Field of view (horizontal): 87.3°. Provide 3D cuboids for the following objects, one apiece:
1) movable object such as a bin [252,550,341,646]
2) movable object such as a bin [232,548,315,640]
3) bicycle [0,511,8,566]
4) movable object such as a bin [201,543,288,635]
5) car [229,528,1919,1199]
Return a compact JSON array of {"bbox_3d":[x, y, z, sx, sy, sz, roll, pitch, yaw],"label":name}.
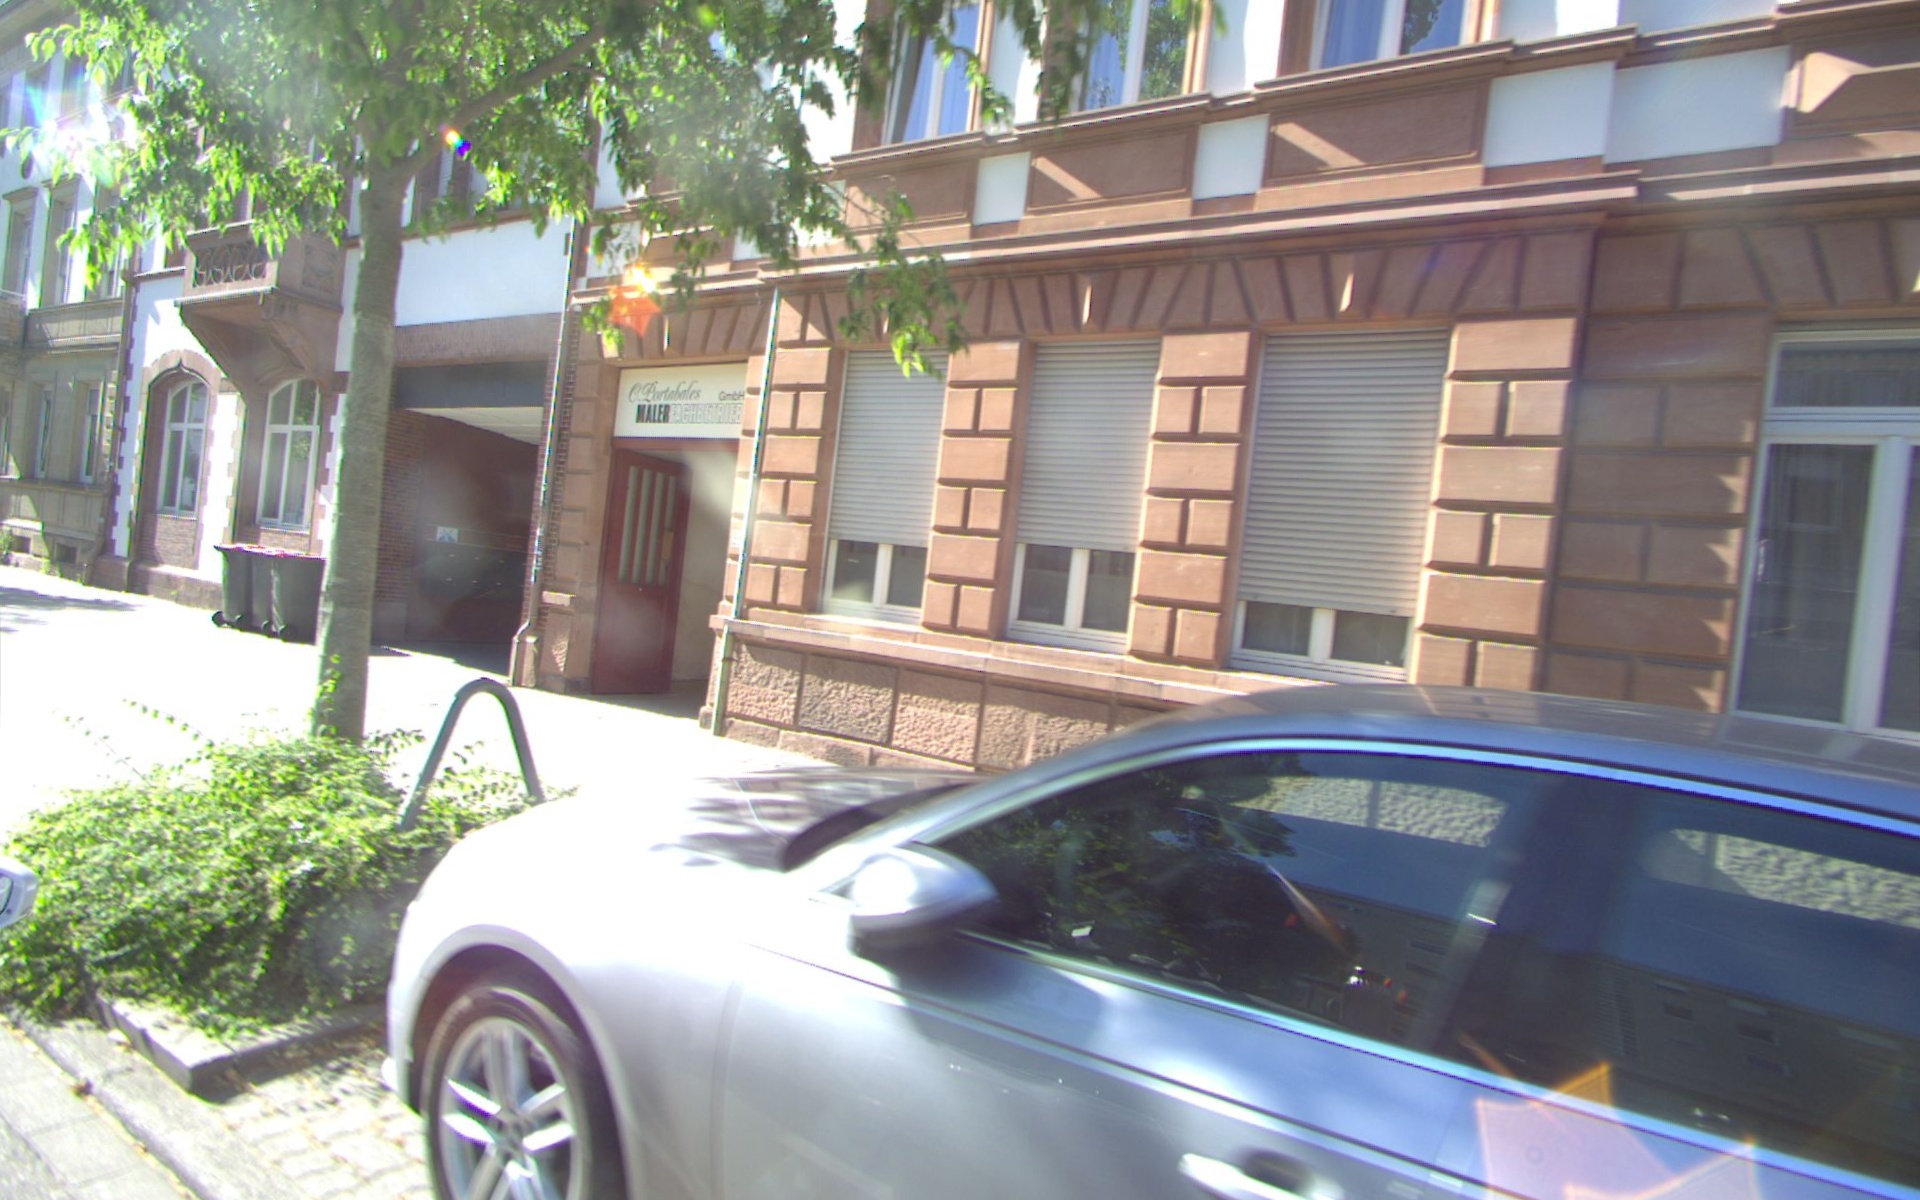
[{"bbox_3d":[-8.229,-0.018,12.481,0.628,1.082,0.638,7,1,31],"label":"movable object such as a bin"},{"bbox_3d":[-8.702,-0.071,12.762,0.513,1.082,0.638,7,1,31],"label":"movable object such as a bin"},{"bbox_3d":[-19.042,-1.246,19.549,1.404,1.045,0.432,7,4,31],"label":"bicycle"},{"bbox_3d":[-9.239,-0.136,12.994,0.621,1.082,0.638,7,1,31],"label":"movable object such as a bin"},{"bbox_3d":[0.667,0.842,1.914,4.235,1.469,1.740,7,0,31],"label":"car"}]
